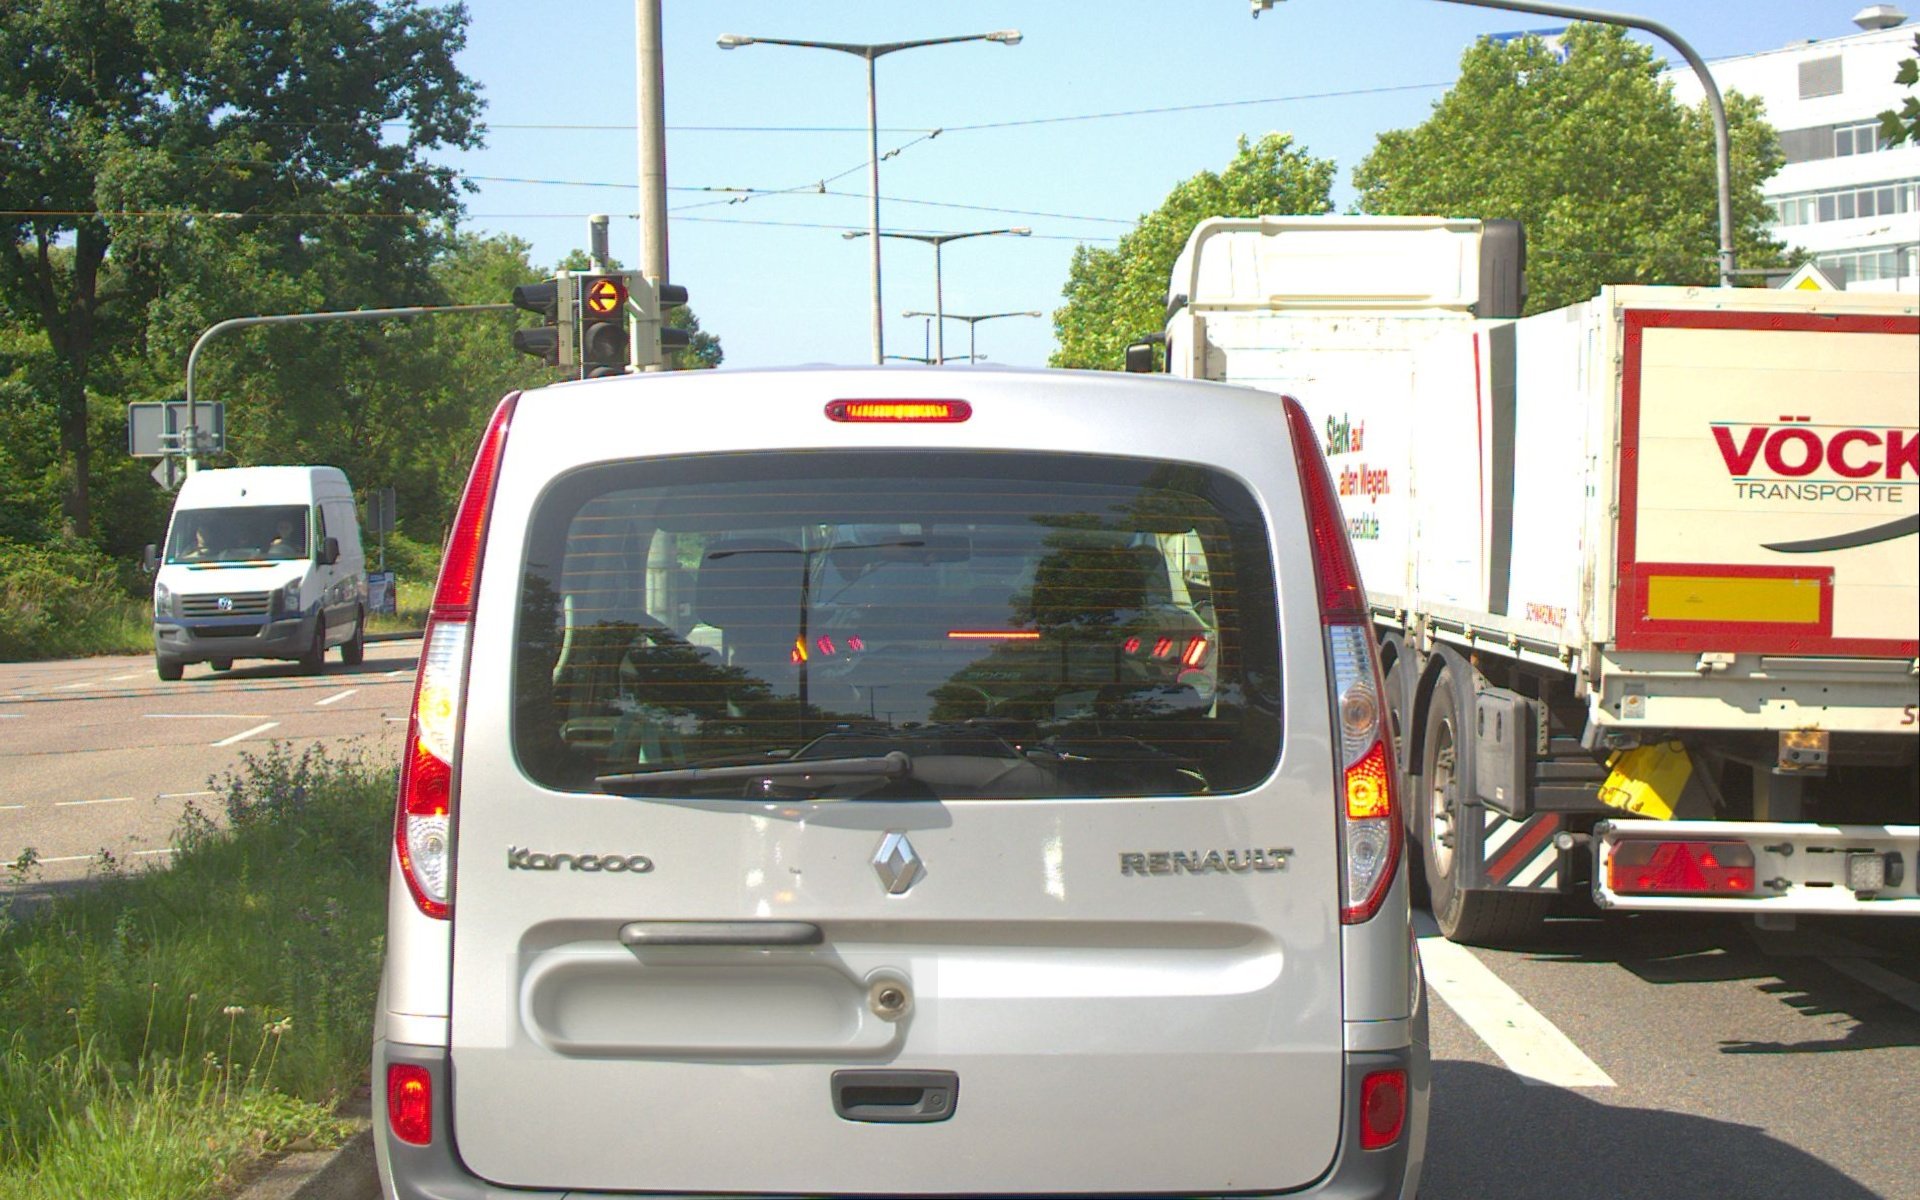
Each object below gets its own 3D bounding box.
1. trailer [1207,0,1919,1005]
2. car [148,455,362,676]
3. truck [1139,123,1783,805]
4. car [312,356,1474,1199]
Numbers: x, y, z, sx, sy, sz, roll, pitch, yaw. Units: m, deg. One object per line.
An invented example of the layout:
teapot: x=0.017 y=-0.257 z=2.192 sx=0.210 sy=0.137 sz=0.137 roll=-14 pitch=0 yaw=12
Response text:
trailer: x=3.018 y=-0.833 z=15.560 sx=3.016 sy=3.728 sz=12.240 roll=0 pitch=1 yaw=0
car: x=-8.827 y=-0.449 z=43.501 sx=2.058 sy=2.605 sz=5.871 roll=0 pitch=1 yaw=-6
truck: x=2.947 y=-0.797 z=22.639 sx=3.071 sy=3.745 sz=7.477 roll=0 pitch=1 yaw=-1
car: x=-0.107 y=0.488 z=7.159 sx=1.749 sy=1.766 sz=3.949 roll=0 pitch=1 yaw=0
